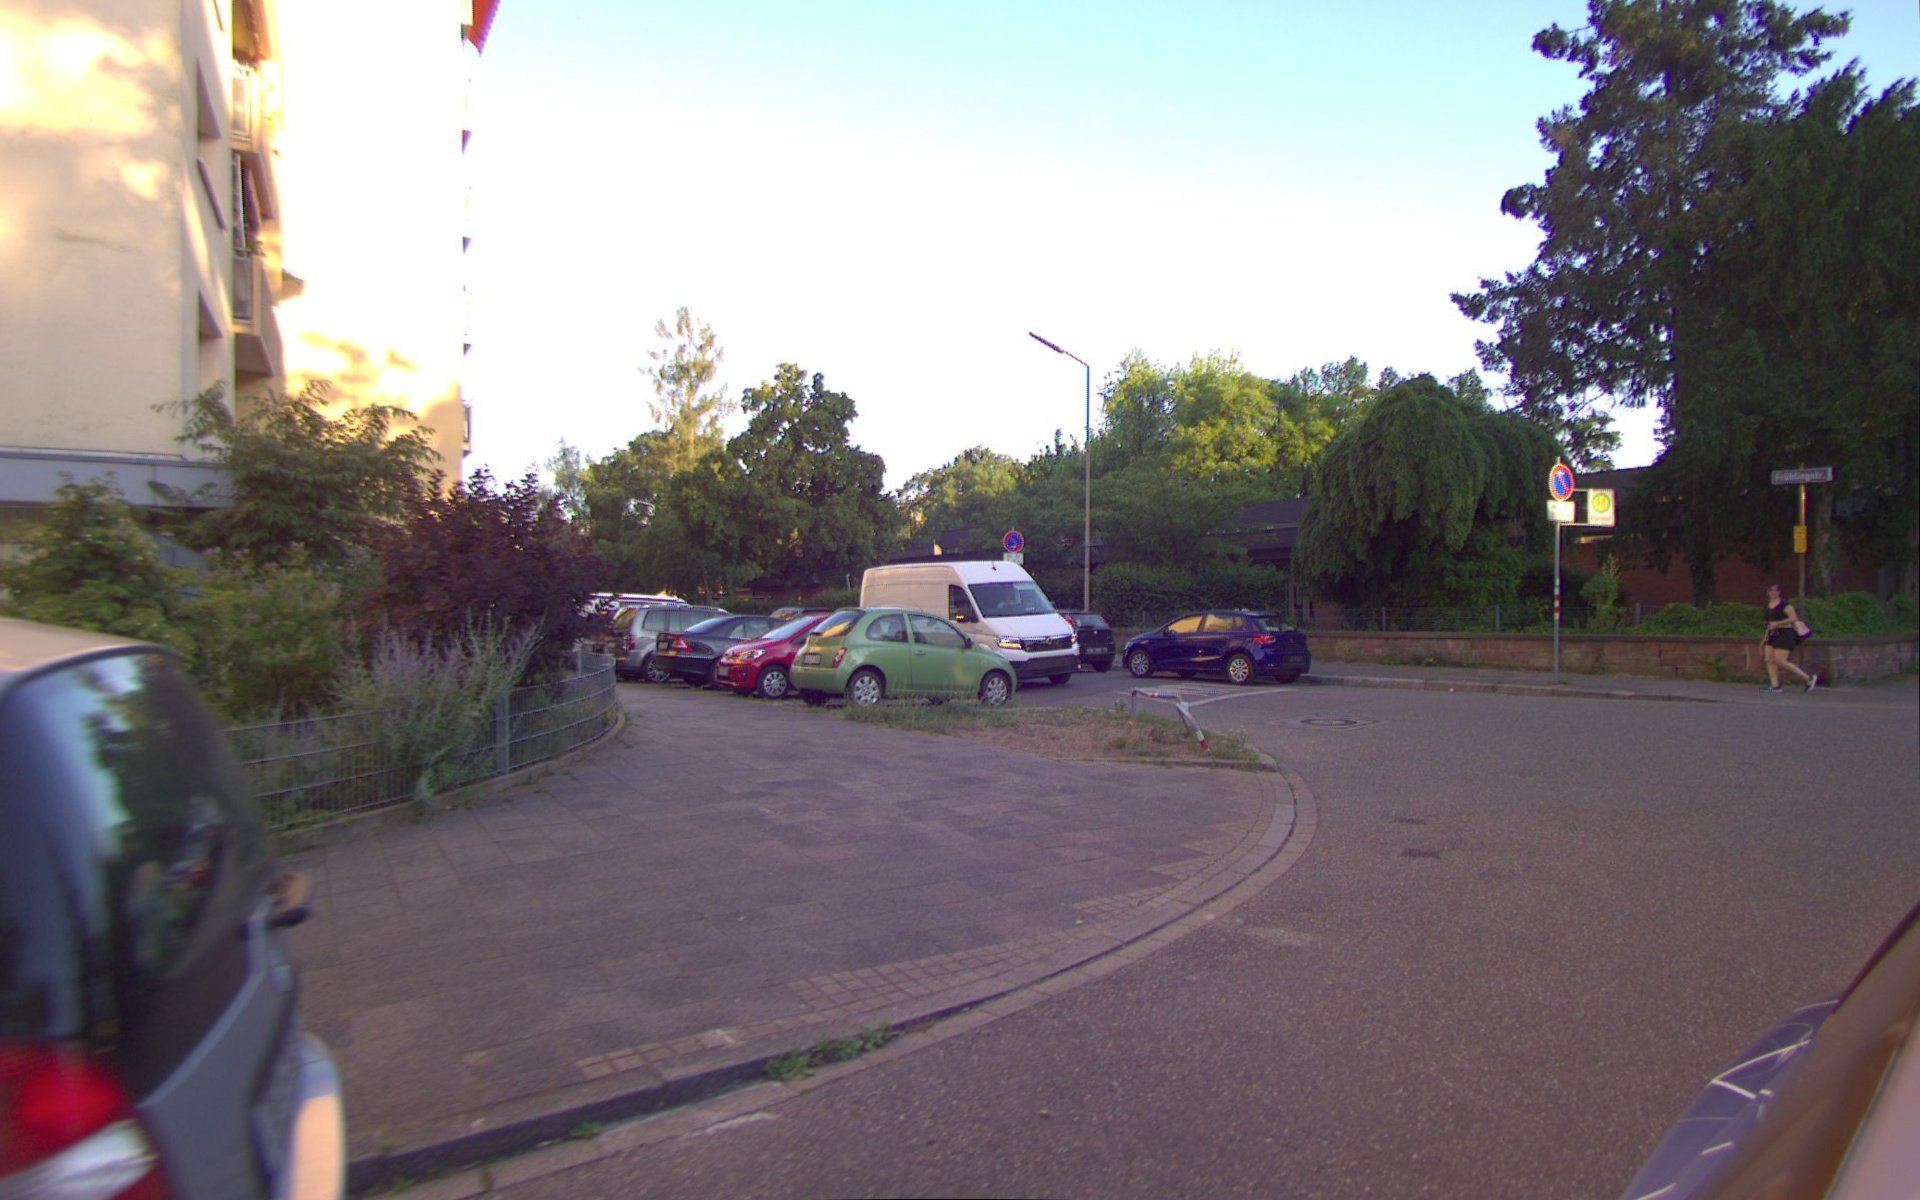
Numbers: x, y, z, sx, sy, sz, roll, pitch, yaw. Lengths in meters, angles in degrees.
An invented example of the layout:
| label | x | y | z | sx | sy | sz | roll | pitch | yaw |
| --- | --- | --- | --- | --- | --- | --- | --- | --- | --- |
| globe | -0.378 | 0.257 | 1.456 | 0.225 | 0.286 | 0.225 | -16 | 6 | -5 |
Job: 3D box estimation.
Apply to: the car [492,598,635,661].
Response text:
| label | x | y | z | sx | sy | sz | roll | pitch | yaw |
| --- | --- | --- | --- | --- | --- | --- | --- | --- | --- |
| car | -13.478 | 0.945 | 34.466 | 4.280 | 2.023 | 1.743 | 0 | -1 | -35 |

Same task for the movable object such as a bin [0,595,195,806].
| label | x | y | z | sx | sy | sz | roll | pitch | yaw |
| --- | --- | --- | --- | --- | --- | --- | --- | --- | --- |
| movable object such as a bin | -6.879 | 0.713 | 7.767 | 1.552 | 1.489 | 1.186 | 0 | -1 | -35 |

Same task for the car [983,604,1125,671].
| label | x | y | z | sx | sy | sz | roll | pitch | yaw |
| --- | --- | --- | --- | --- | --- | --- | --- | --- | --- |
| car | 2.207 | 0.868 | 24.588 | 1.505 | 1.504 | 3.509 | 0 | -1 | -36 |

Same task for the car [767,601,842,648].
| label | x | y | z | sx | sy | sz | roll | pitch | yaw |
| --- | --- | --- | --- | --- | --- | --- | --- | --- | --- |
| car | -5.648 | 0.860 | 36.597 | 1.505 | 1.606 | 2.953 | 0 | -1 | -36 |

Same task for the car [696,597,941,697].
| label | x | y | z | sx | sy | sz | roll | pitch | yaw |
| --- | --- | --- | --- | --- | --- | --- | --- | --- | --- |
| car | -2.450 | 0.755 | 17.941 | 3.927 | 1.572 | 1.827 | 0 | -1 | -38 |

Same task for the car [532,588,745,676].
| label | x | y | z | sx | sy | sz | roll | pitch | yaw |
| --- | --- | --- | --- | --- | --- | --- | --- | --- | --- |
| car | -8.368 | 0.766 | 26.497 | 4.979 | 2.112 | 2.000 | 0 | -1 | -33 |

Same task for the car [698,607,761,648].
| label | x | y | z | sx | sy | sz | roll | pitch | yaw |
| --- | --- | --- | --- | --- | --- | --- | --- | --- | --- |
| car | -9.455 | 1.096 | 41.394 | 1.505 | 1.606 | 2.953 | 0 | -1 | -36 |

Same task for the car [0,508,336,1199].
| label | x | y | z | sx | sy | sz | roll | pitch | yaw |
| --- | --- | --- | --- | --- | --- | --- | --- | --- | --- |
| car | -2.693 | 0.750 | 0.710 | 3.808 | 1.596 | 1.817 | -1 | 0 | -31 |

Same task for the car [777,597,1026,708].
| label | x | y | z | sx | sy | sz | roll | pitch | yaw |
| --- | --- | --- | --- | --- | --- | --- | --- | --- | --- |
| car | -0.856 | 0.798 | 15.640 | 3.503 | 1.532 | 1.626 | 2 | -3 | -36 |

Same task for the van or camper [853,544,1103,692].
| label | x | y | z | sx | sy | sz | roll | pitch | yaw |
| --- | --- | --- | --- | --- | --- | --- | --- | --- | --- |
| van or camper | 0.088 | 0.332 | 21.876 | 2.055 | 2.622 | 6.877 | -4 | 1 | -29 |

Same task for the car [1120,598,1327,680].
| label | x | y | z | sx | sy | sz | roll | pitch | yaw |
| --- | --- | --- | --- | --- | --- | --- | --- | --- | --- |
| car | 5.239 | 0.730 | 20.469 | 1.693 | 1.504 | 3.785 | 0 | -1 | -39 |

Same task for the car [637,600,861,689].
| label | x | y | z | sx | sy | sz | roll | pitch | yaw |
| --- | --- | --- | --- | --- | --- | --- | --- | --- | --- |
| car | -4.085 | 0.795 | 19.883 | 3.927 | 1.572 | 1.827 | 0 | -1 | -38 |

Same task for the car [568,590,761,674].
| label | x | y | z | sx | sy | sz | roll | pitch | yaw |
| --- | --- | --- | --- | --- | --- | --- | --- | --- | --- |
| car | -7.007 | 0.714 | 24.158 | 4.037 | 1.836 | 1.827 | 0 | -1 | -38 |

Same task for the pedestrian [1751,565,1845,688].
| label | x | y | z | sx | sy | sz | roll | pitch | yaw |
| --- | --- | --- | --- | --- | --- | --- | --- | --- | --- |
| pedestrian | 12.517 | 0.368 | 15.150 | 0.816 | 1.746 | 0.855 | 2 | 3 | 25 |

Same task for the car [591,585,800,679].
| label | x | y | z | sx | sy | sz | roll | pitch | yaw |
| --- | --- | --- | --- | --- | --- | --- | --- | --- | --- |
| car | -5.646 | 0.639 | 21.787 | 3.980 | 1.836 | 1.827 | 0 | -1 | -38 |

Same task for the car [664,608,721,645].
| label | x | y | z | sx | sy | sz | roll | pitch | yaw |
| --- | --- | --- | --- | --- | --- | --- | --- | --- | --- |
| car | -12.046 | 1.157 | 45.450 | 1.505 | 1.606 | 2.953 | 0 | -1 | -36 |

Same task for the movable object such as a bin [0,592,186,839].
| label | x | y | z | sx | sy | sz | roll | pitch | yaw |
| --- | --- | --- | --- | --- | --- | --- | --- | --- | --- |
| movable object such as a bin | -6.076 | 0.704 | 6.612 | 1.552 | 1.489 | 1.127 | 0 | -1 | -35 |

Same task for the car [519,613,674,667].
| label | x | y | z | sx | sy | sz | roll | pitch | yaw |
| --- | --- | --- | --- | --- | --- | --- | --- | --- | --- |
| car | -10.864 | 1.155 | 30.339 | 4.064 | 1.479 | 1.743 | 0 | -1 | -35 |
